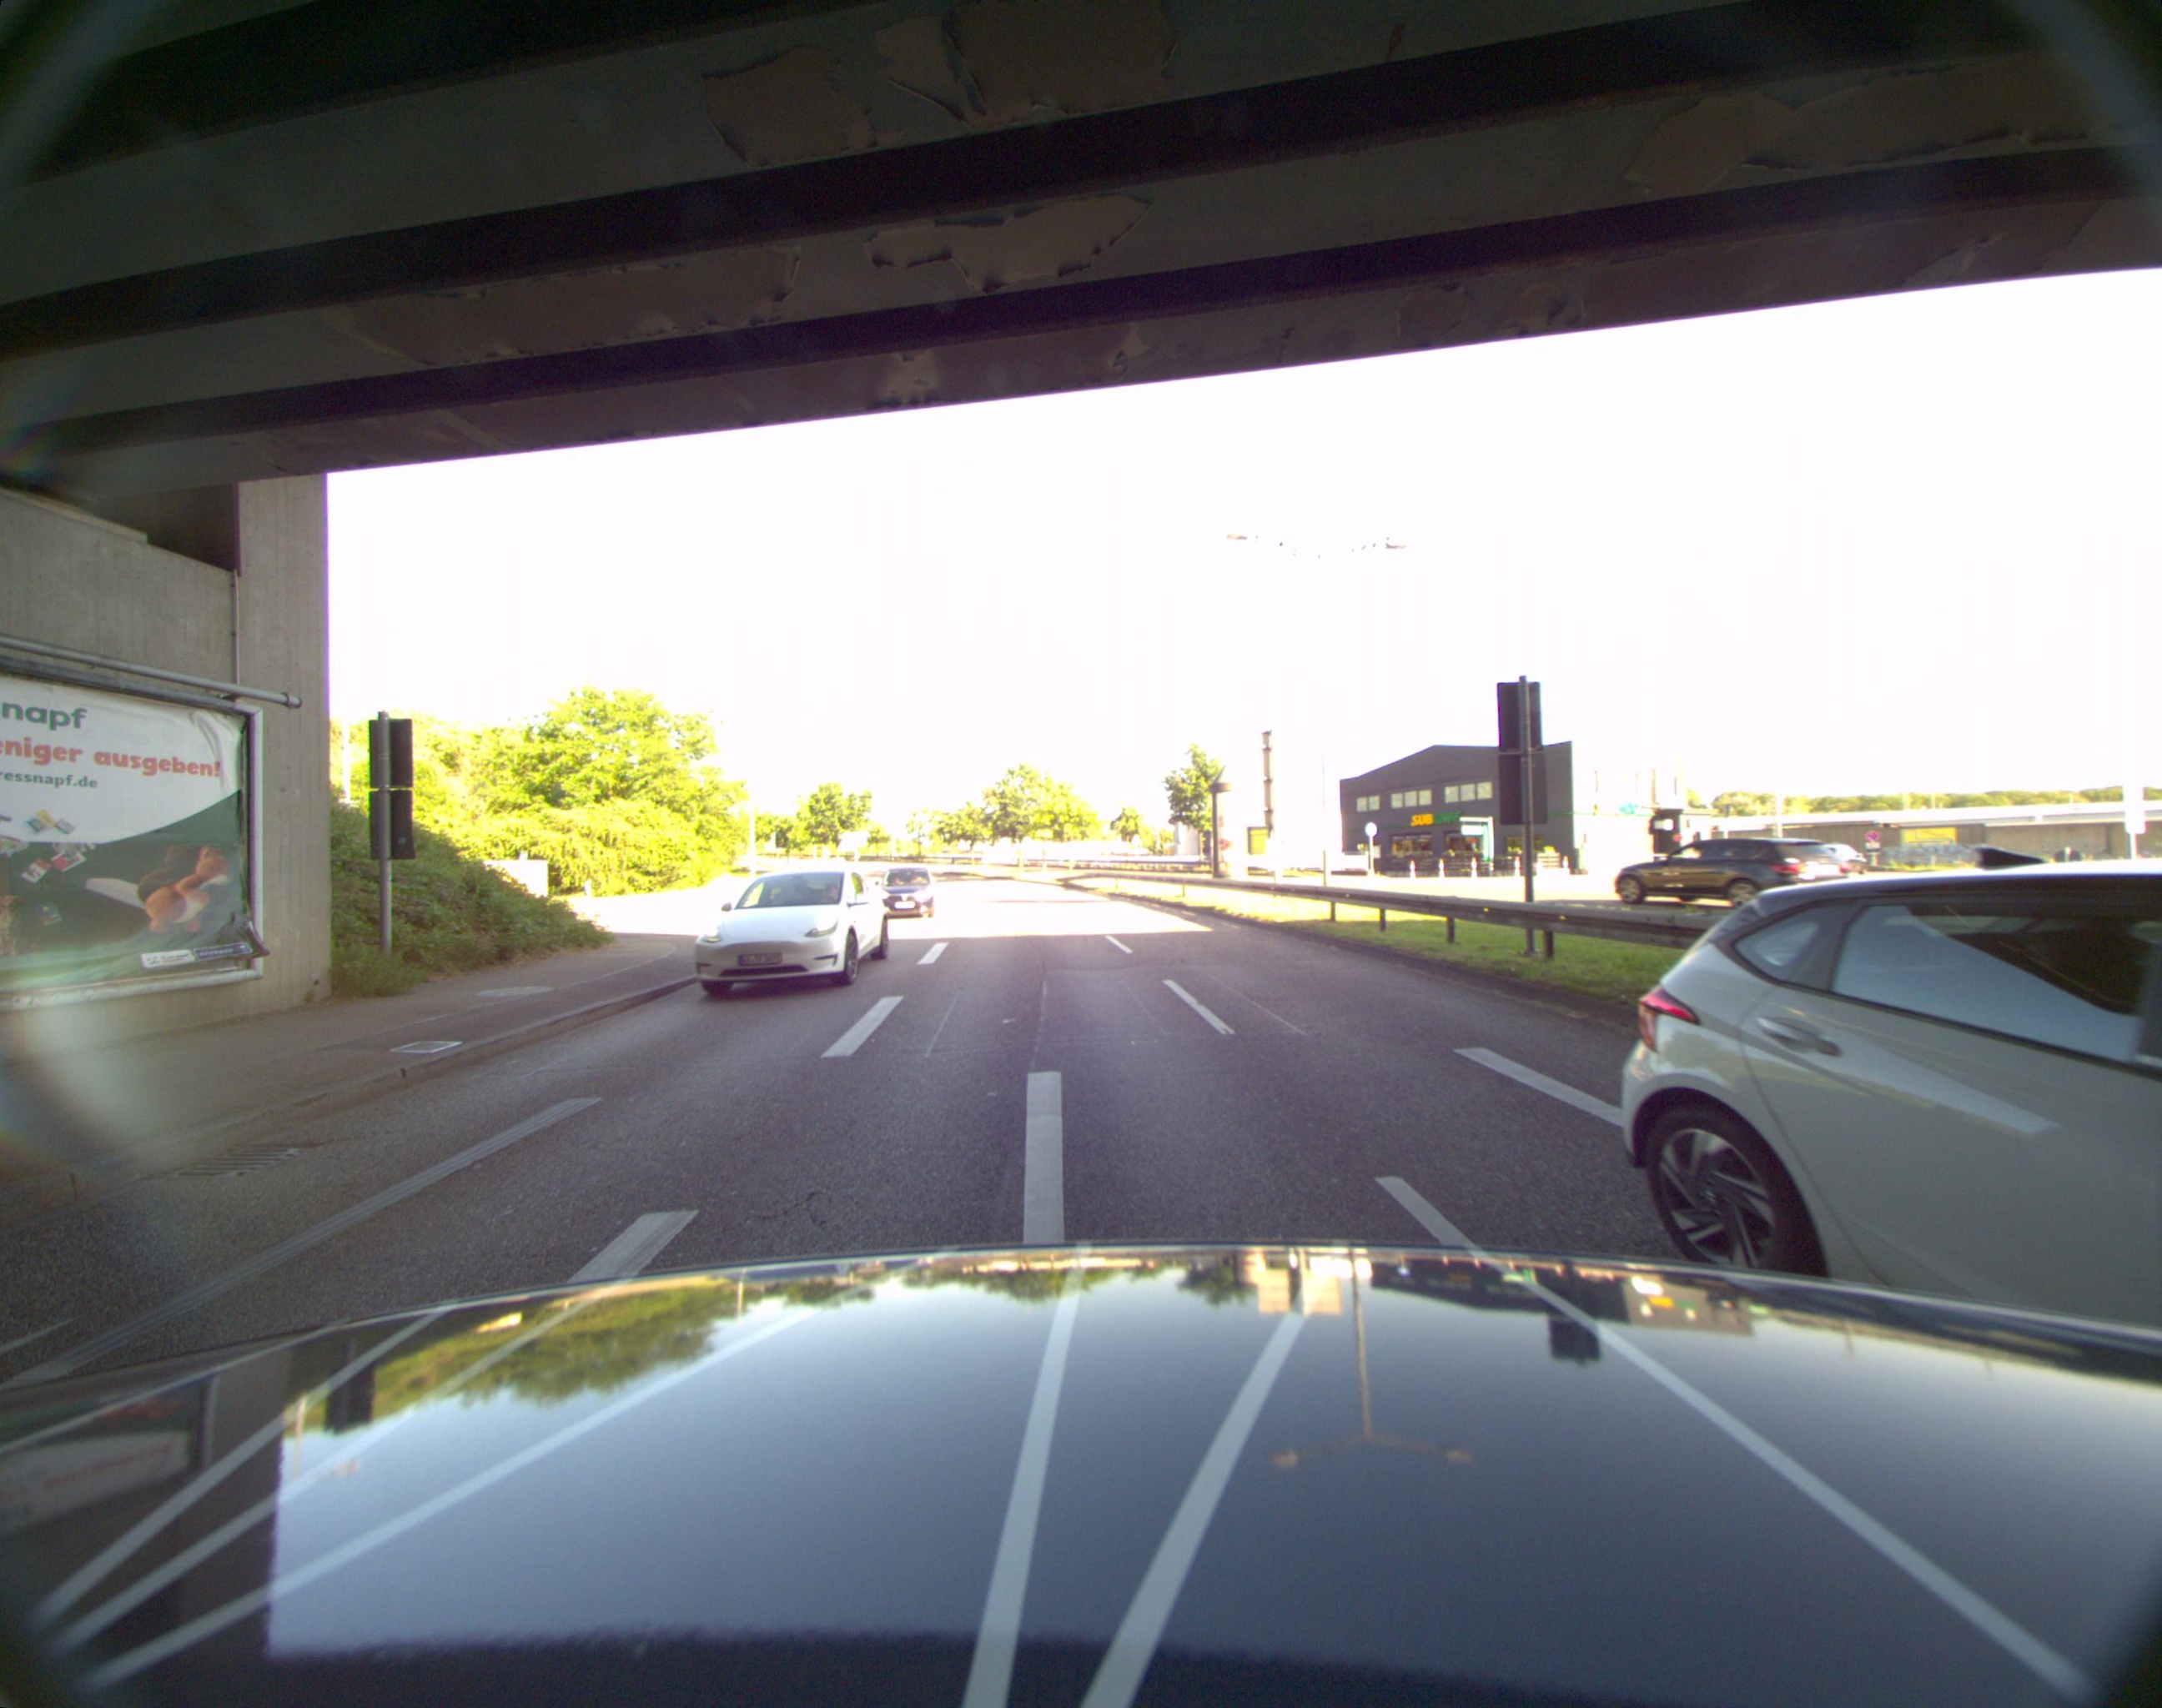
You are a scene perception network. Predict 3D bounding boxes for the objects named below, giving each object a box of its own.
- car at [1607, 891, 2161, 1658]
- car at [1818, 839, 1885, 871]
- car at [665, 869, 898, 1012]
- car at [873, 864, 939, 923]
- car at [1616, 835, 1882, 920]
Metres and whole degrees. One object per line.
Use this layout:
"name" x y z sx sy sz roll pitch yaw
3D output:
"car" 2.981 0.852 1.051 1.737 1.395 3.871 -2 0 -1
"car" 39.484 0.023 38.899 4.007 1.434 1.878 -3 1 -37
"car" -4.191 1.099 11.520 1.999 1.542 4.418 -2 1 -4
"car" -5.613 1.204 24.767 1.780 1.591 4.101 -3 1 -10
"car" 14.991 0.460 17.445 1.857 1.607 4.360 -3 1 -10
